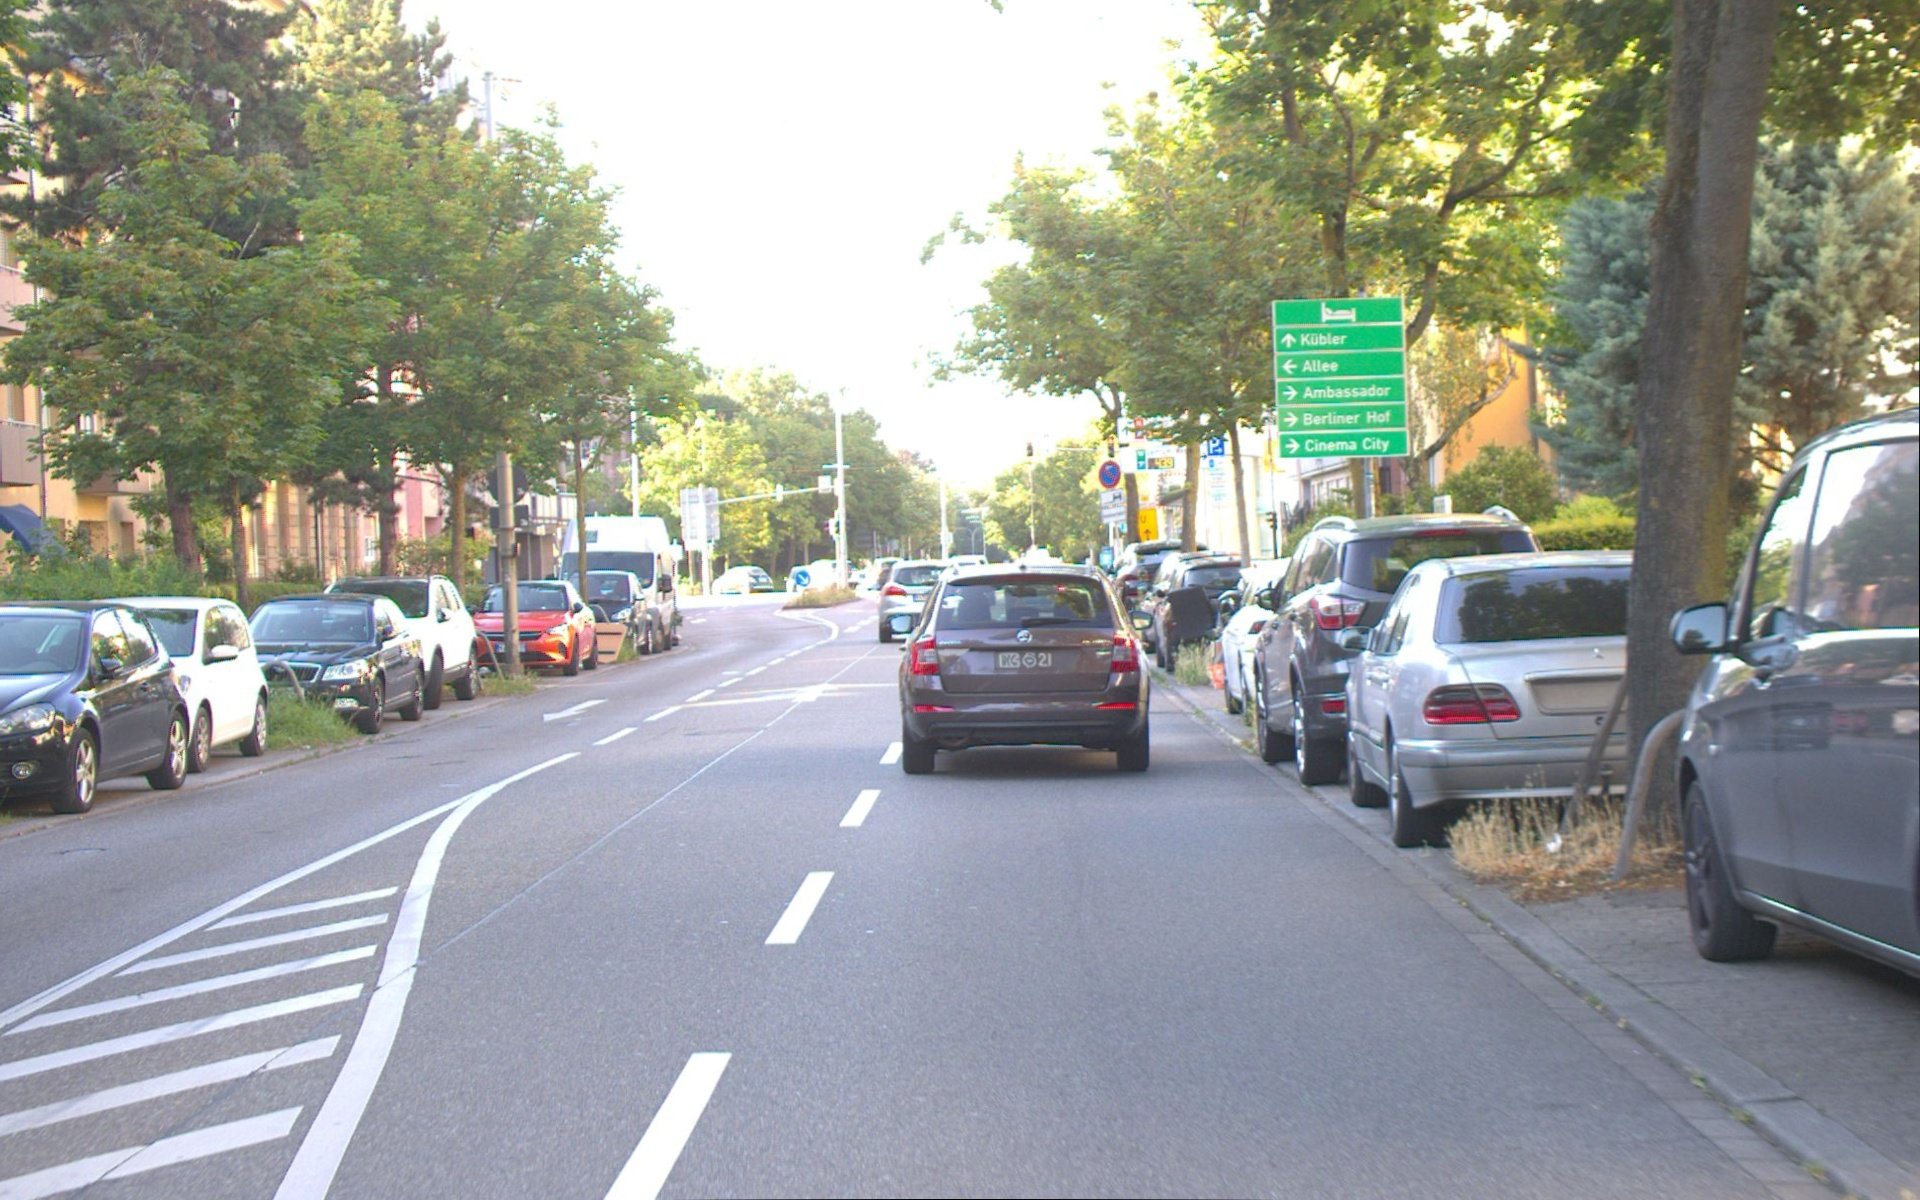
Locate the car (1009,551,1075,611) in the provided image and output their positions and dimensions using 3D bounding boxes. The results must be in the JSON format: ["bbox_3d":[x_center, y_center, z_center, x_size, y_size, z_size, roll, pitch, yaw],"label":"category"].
[{"bbox_3d":[2.137,-0.510,89.836,1.650,1.479,4.239,-1,1,1],"label":"car"}]

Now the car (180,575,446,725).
[{"bbox_3d":[-6.993,0.501,37.597,1.993,1.443,4.458,-2,1,0],"label":"car"}]

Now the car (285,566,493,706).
[{"bbox_3d":[-7.016,0.407,42.593,1.776,1.583,4.186,-1,1,1],"label":"car"}]

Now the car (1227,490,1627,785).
[{"bbox_3d":[3.029,0.194,23.298,1.916,1.676,4.708,-4,1,-1],"label":"car"}]

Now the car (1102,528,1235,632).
[{"bbox_3d":[3.587,-0.369,59.826,1.948,1.649,4.796,-2,1,0],"label":"car"}]

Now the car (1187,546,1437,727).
[{"bbox_3d":[3.055,0.271,30.627,1.762,1.397,4.333,-3,1,1],"label":"car"}]

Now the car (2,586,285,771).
[{"bbox_3d":[-7.128,0.643,30.331,1.591,1.487,3.642,-2,0,0],"label":"car"}]

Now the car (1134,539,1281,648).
[{"bbox_3d":[3.645,-0.124,51.272,1.716,1.467,4.432,-3,1,-1],"label":"car"}]

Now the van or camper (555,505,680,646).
[{"bbox_3d":[-6.715,-0.493,67.905,2.035,2.654,6.016,0,1,-2],"label":"van or camper"}]

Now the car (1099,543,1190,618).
[{"bbox_3d":[4.051,-0.453,76.117,1.856,1.507,4.834,-4,1,2],"label":"car"}]

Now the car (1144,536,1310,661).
[{"bbox_3d":[3.400,-0.051,44.471,1.770,1.444,4.484,-3,1,1],"label":"car"}]

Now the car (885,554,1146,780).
[{"bbox_3d":[0.408,0.414,24.720,1.707,1.452,4.158,0,1,1],"label":"car"}]

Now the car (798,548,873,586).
[{"bbox_3d":[-6.010,-1.586,165.168,1.993,1.664,4.000,-3,1,-28],"label":"car"}]

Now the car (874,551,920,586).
[{"bbox_3d":[-2.856,-1.437,155.866,1.620,1.489,3.347,-2,1,7],"label":"car"}]

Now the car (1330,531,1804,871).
[{"bbox_3d":[3.039,0.426,18.167,1.784,1.499,4.830,-2,1,2],"label":"car"}]

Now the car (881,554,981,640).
[{"bbox_3d":[-0.511,-0.084,63.896,1.707,1.504,4.309,-1,1,1],"label":"car"}]

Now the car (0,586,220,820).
[{"bbox_3d":[-6.866,0.694,25.192,1.837,1.512,4.315,-1,1,2],"label":"car"}]

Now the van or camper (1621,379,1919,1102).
[{"bbox_3d":[3.433,0.274,10.117,1.993,1.836,5.259,-2,2,1],"label":"van or camper"}]

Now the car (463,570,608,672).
[{"bbox_3d":[-6.569,0.303,53.548,1.717,1.447,3.923,-1,1,1],"label":"car"}]

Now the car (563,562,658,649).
[{"bbox_3d":[-6.386,0.084,62.958,1.403,1.543,2.762,0,1,1],"label":"car"}]
